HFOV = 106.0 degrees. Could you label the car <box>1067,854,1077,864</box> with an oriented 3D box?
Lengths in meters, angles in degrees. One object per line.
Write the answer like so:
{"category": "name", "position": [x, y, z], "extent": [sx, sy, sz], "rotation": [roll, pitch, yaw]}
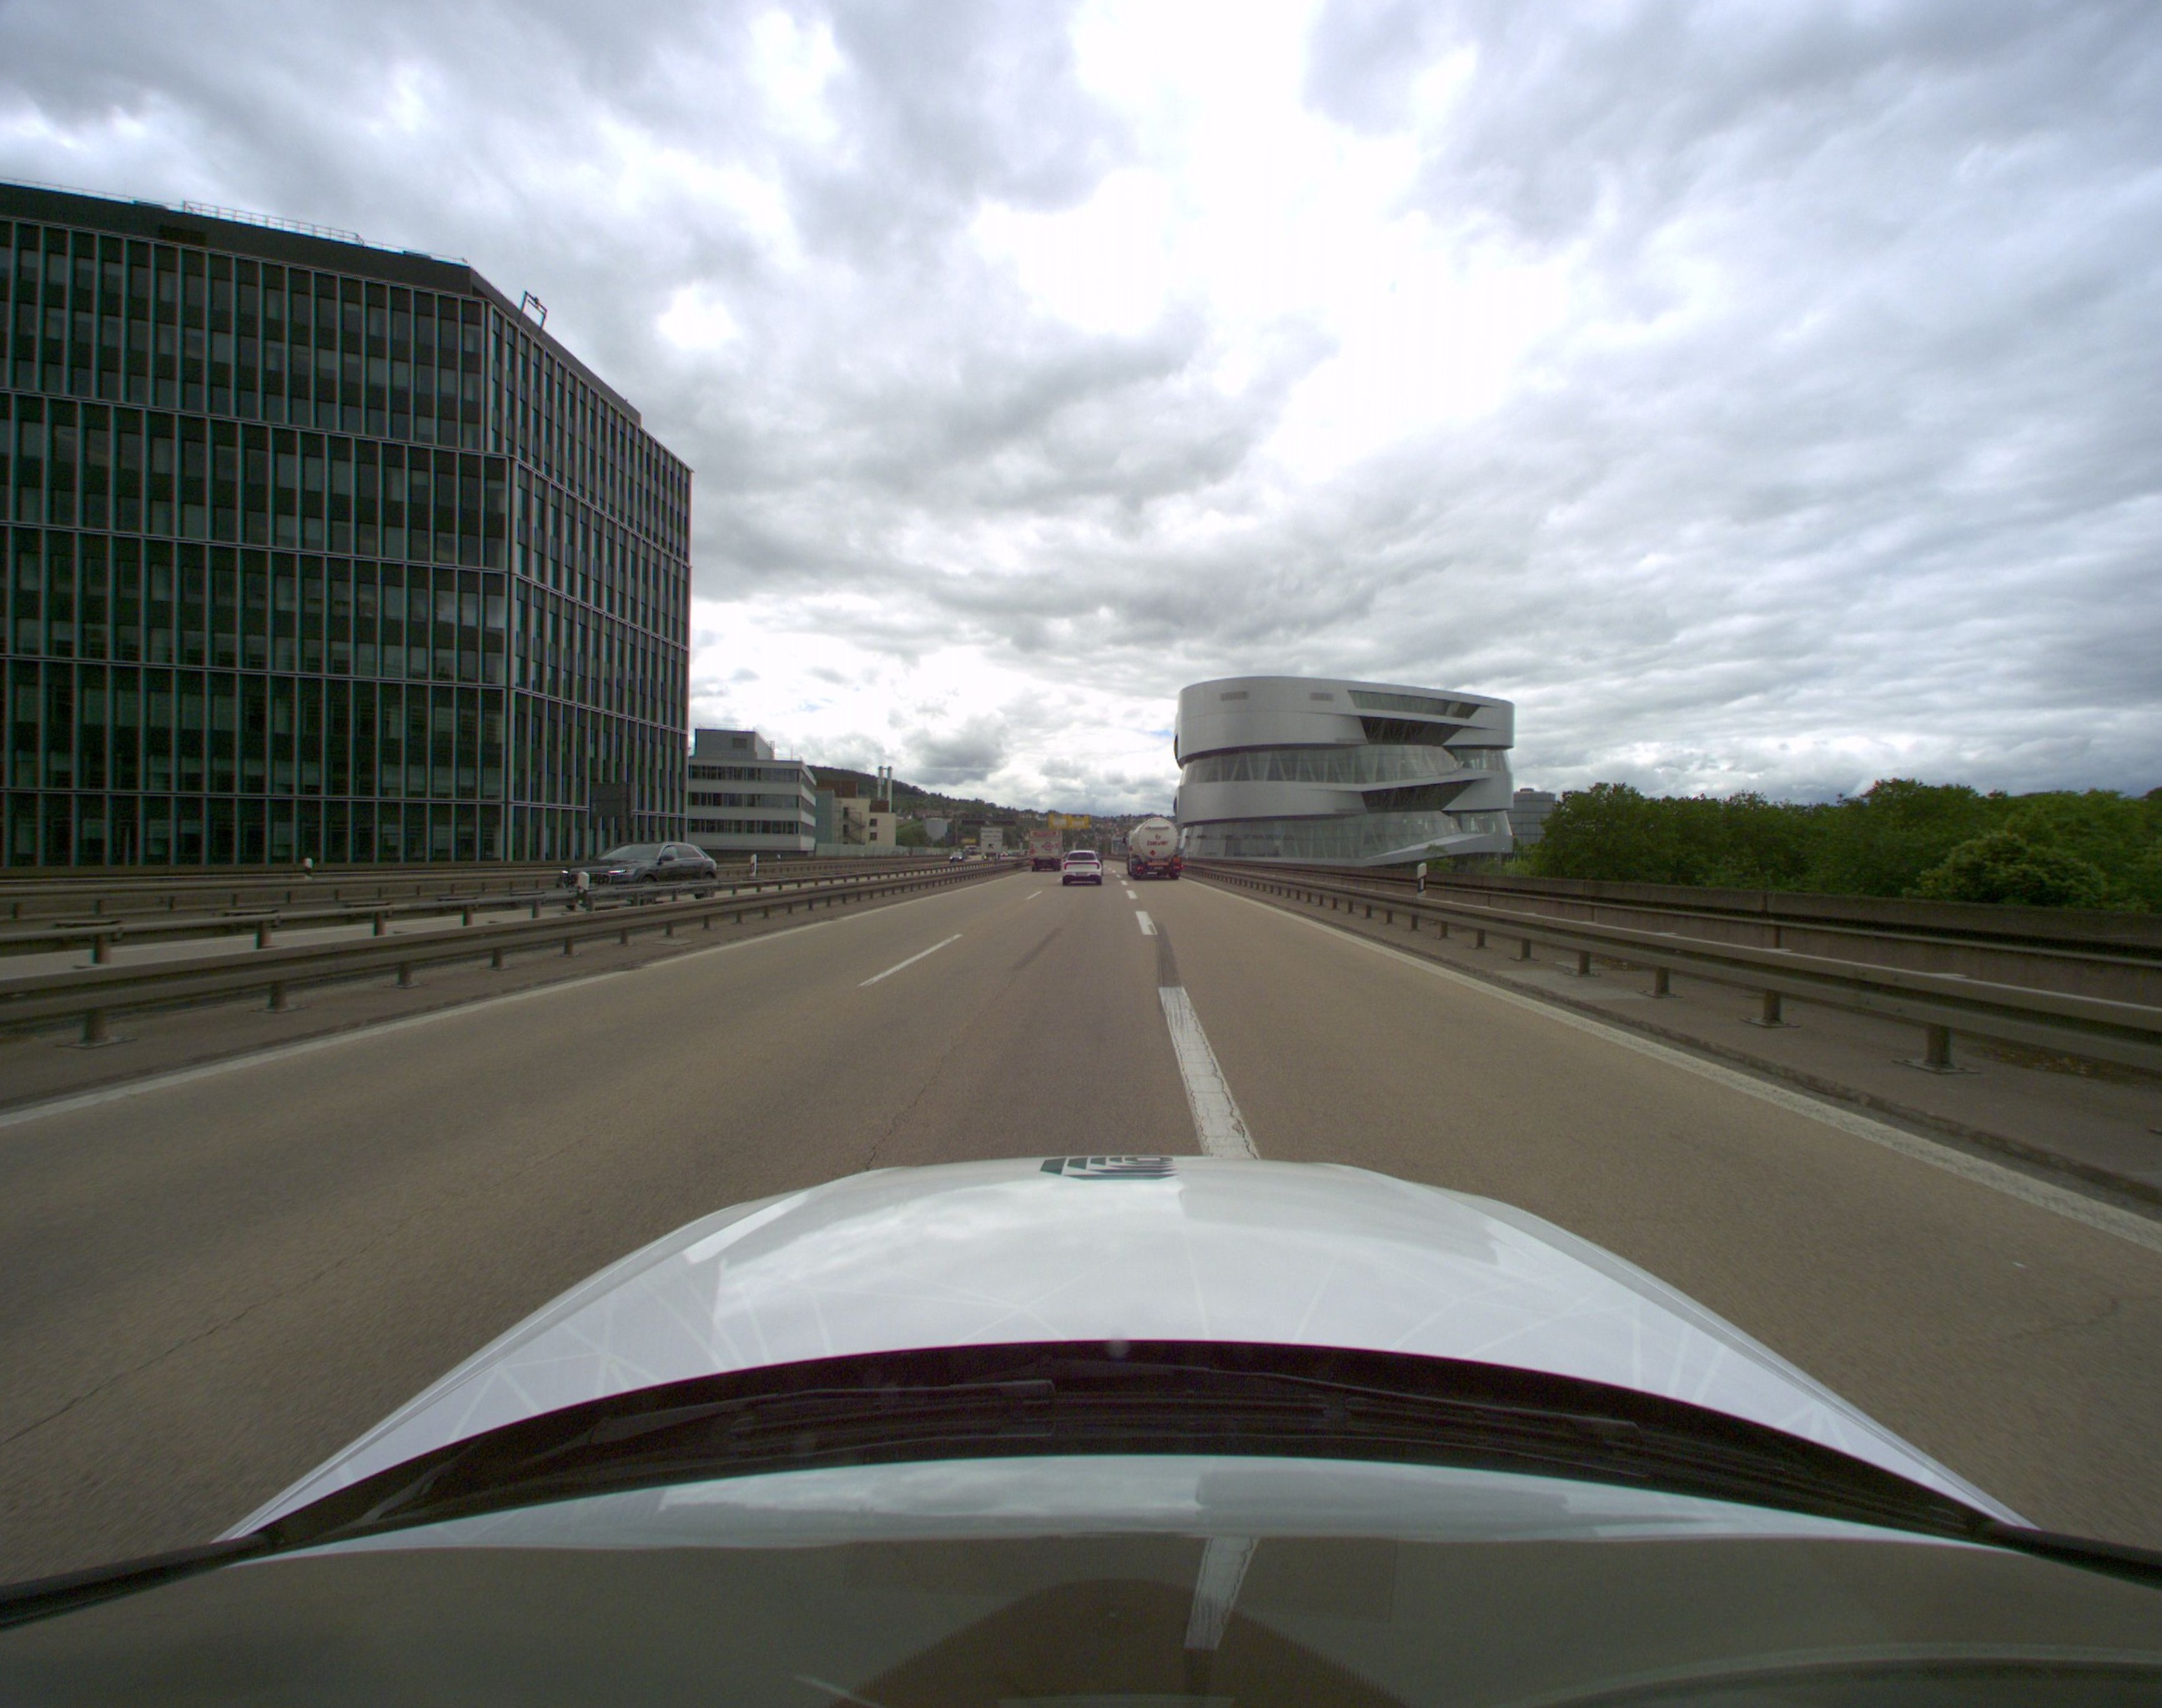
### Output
{"category": "car", "position": [-1.473, 0.900, 138.735], "extent": [1.678, 1.650, 4.358], "rotation": [1, -1, -1]}

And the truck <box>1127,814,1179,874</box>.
{"category": "truck", "position": [4.622, -0.569, 53.533], "extent": [3.003, 3.657, 6.276], "rotation": [-1, -1, 2]}

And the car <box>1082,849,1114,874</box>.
{"category": "car", "position": [1.241, 0.506, 56.999], "extent": [1.984, 1.675, 4.413], "rotation": [-1, -1, 4]}

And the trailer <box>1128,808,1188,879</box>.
{"category": "trailer", "position": [4.374, -0.519, 47.753], "extent": [3.045, 3.790, 8.308], "rotation": [-1, -1, 3]}

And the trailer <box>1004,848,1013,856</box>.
{"category": "trailer", "position": [-19.435, -0.443, 217.912], "extent": [1.988, 2.014, 3.998], "rotation": [-1, -1, -1]}

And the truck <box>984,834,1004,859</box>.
{"category": "truck", "position": [-14.799, -1.215, 138.342], "extent": [2.764, 4.079, 5.643], "rotation": [-1, -1, -1]}

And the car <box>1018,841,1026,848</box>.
{"category": "car", "position": [-15.697, -2.503, 217.062], "extent": [1.990, 1.606, 4.800], "rotation": [-1, -1, -4]}

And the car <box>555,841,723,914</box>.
{"category": "car", "position": [-11.296, 0.568, 21.234], "extent": [1.755, 1.650, 4.338], "rotation": [2, 0, 3]}

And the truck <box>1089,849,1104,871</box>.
{"category": "truck", "position": [3.335, 1.325, 176.345], "extent": [3.048, 4.562, 8.299], "rotation": [-1, -1, -1]}

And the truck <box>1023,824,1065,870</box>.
{"category": "truck", "position": [-3.080, -0.536, 70.401], "extent": [3.046, 3.691, 8.305], "rotation": [-1, -1, 1]}

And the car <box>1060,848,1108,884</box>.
{"category": "car", "position": [0.211, 0.578, 39.854], "extent": [1.984, 1.675, 4.413], "rotation": [-1, -1, 4]}

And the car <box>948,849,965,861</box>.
{"category": "car", "position": [-17.518, 0.167, 114.853], "extent": [1.678, 1.650, 4.358], "rotation": [1, -1, -1]}
